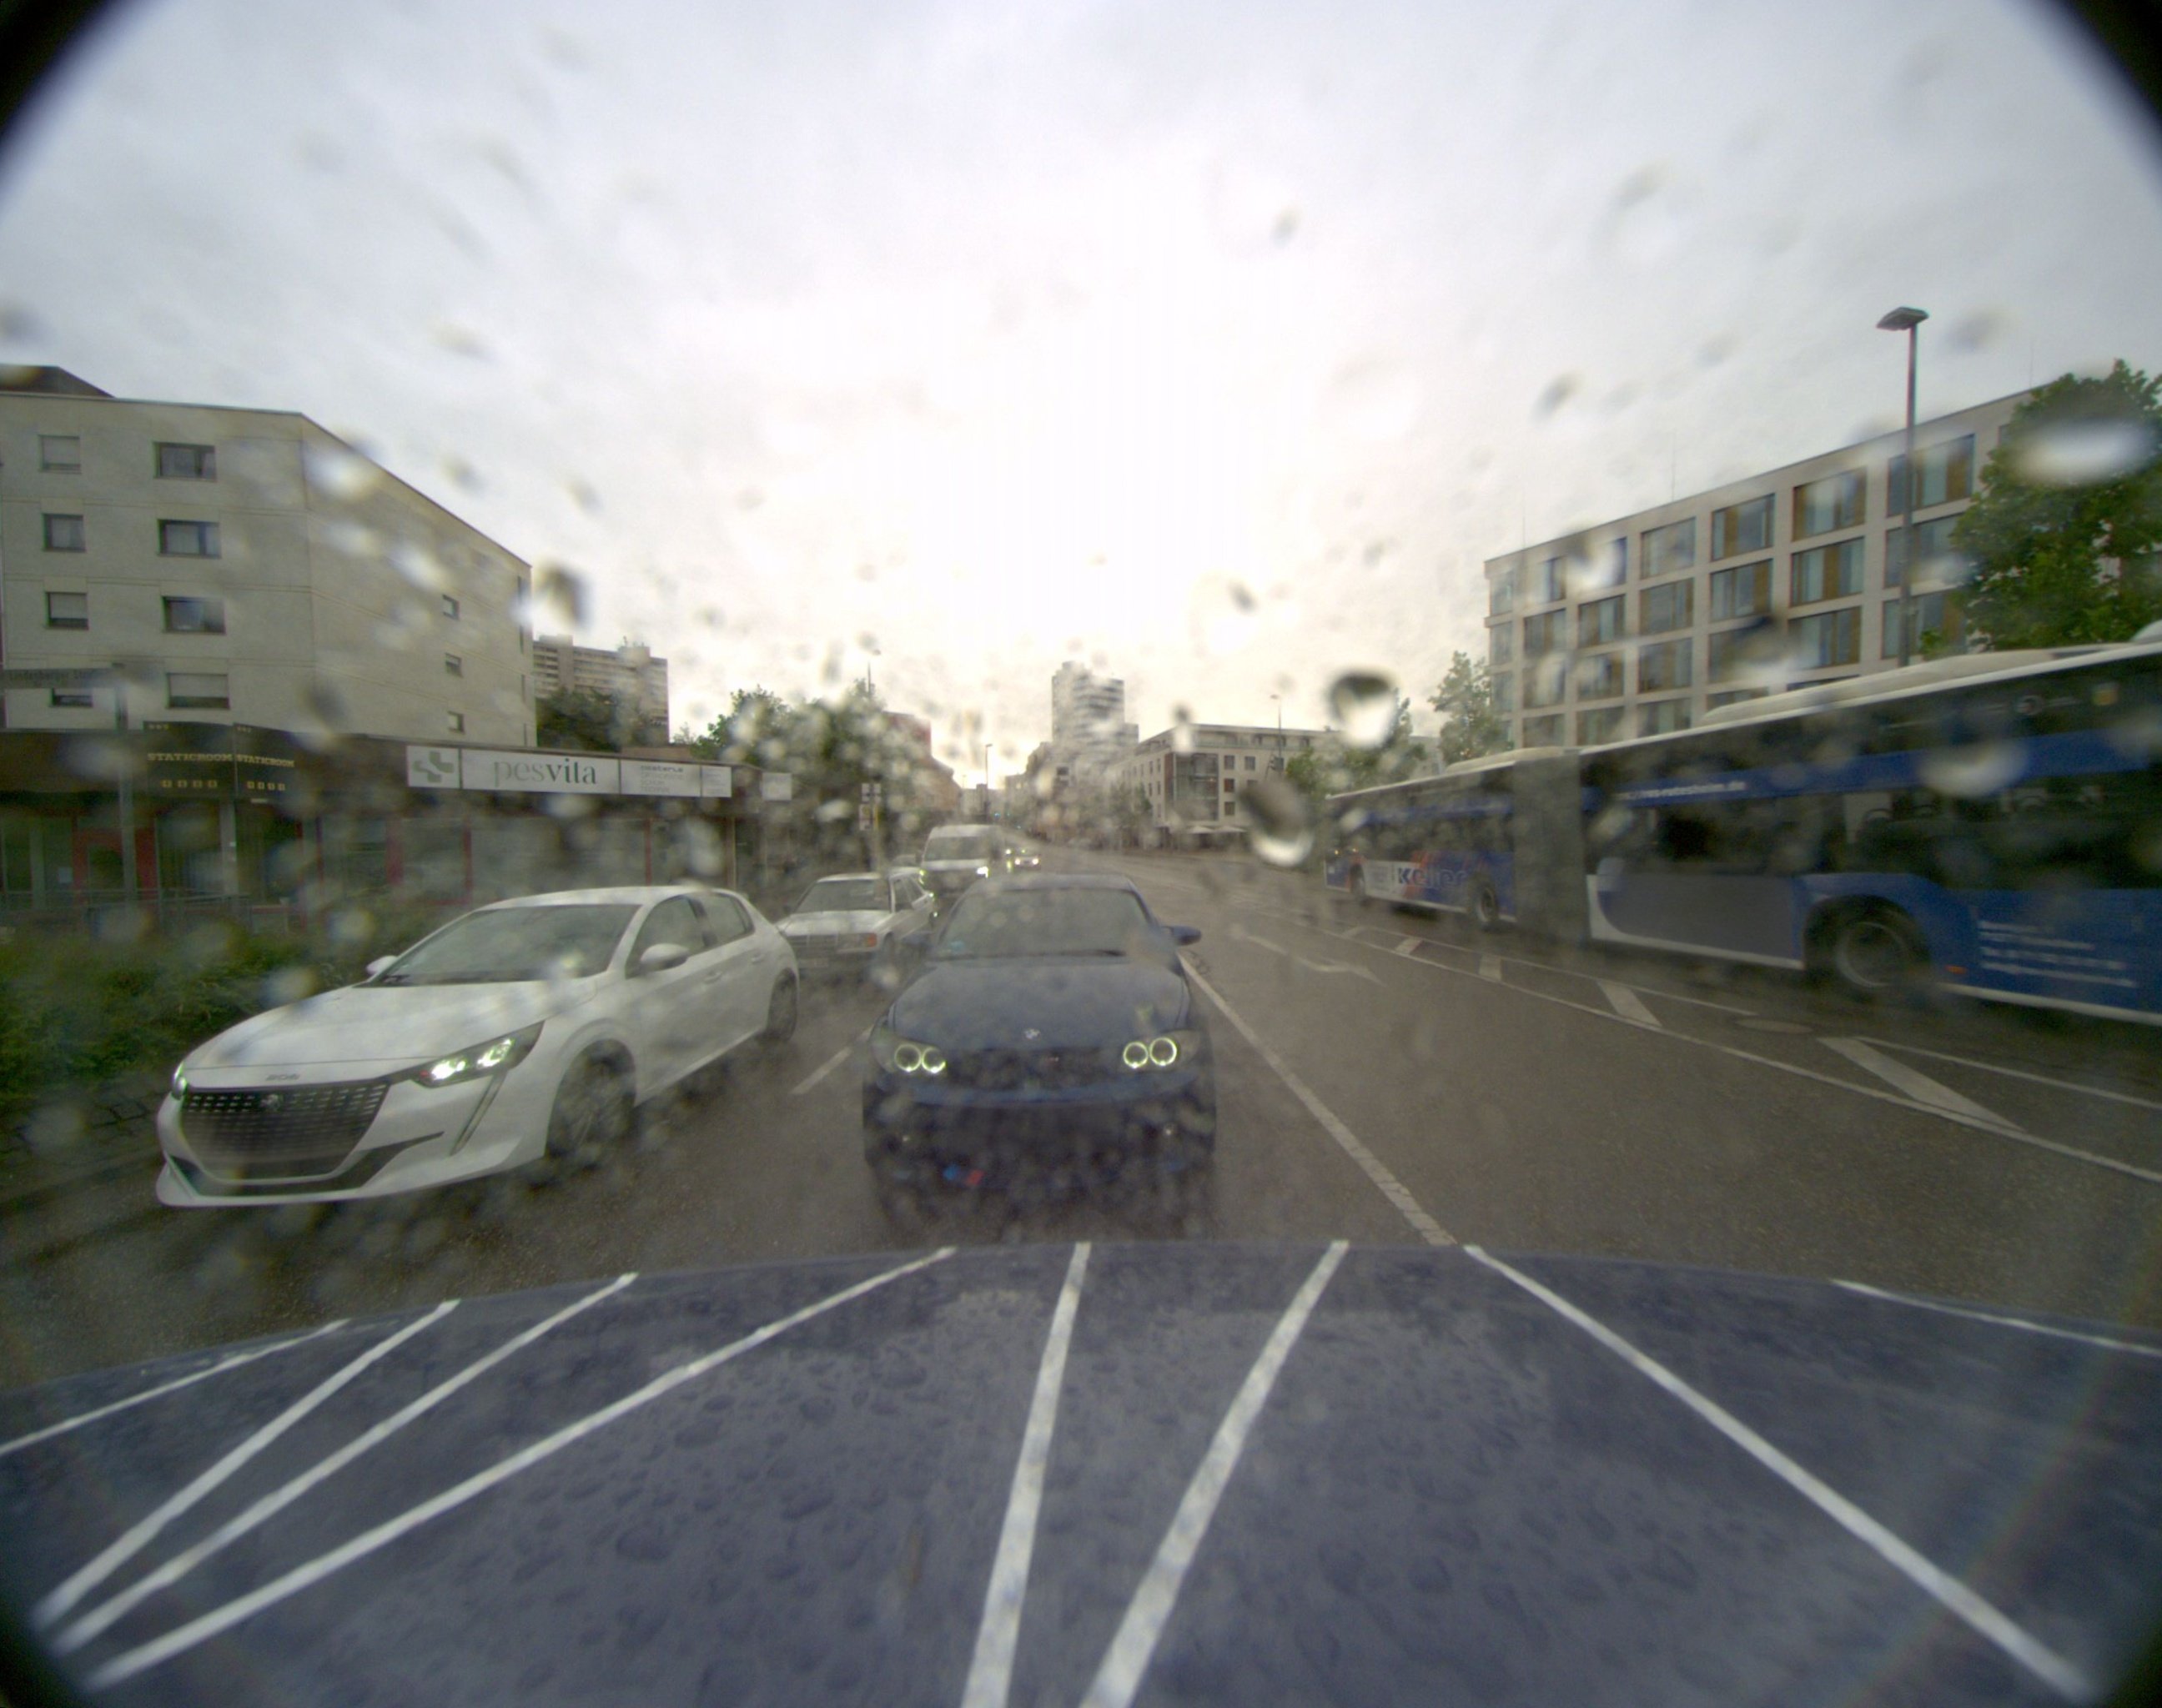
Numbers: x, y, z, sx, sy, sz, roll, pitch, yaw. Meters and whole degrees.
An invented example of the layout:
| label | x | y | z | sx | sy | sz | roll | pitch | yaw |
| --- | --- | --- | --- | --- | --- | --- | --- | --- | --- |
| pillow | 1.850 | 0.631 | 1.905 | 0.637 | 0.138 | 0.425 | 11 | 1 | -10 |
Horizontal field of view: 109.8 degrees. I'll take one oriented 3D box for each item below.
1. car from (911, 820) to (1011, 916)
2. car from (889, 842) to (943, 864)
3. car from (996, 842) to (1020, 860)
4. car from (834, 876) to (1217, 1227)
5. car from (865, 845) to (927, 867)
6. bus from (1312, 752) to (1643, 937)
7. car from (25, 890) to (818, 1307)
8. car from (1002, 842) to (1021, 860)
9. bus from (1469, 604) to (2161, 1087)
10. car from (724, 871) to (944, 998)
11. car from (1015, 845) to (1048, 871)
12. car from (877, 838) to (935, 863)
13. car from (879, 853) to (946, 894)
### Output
| label | x | y | z | sx | sy | sz | roll | pitch | yaw |
| --- | --- | --- | --- | --- | --- | --- | --- | --- | --- |
| car | -3.449 | 0.306 | 23.173 | 2.197 | 2.503 | 6.120 | -1 | 1 | -2 |
| car | -12.723 | -0.090 | 58.930 | 4.000 | 1.584 | 1.883 | -1 | -1 | -10 |
| car | -7.105 | -0.313 | 74.606 | 1.999 | 1.559 | 3.998 | -2 | 1 | -1 |
| car | -0.291 | 0.955 | 5.452 | 1.693 | 1.380 | 3.999 | -2 | 1 | -1 |
| car | -12.864 | 0.117 | 53.045 | 4.000 | 1.419 | 1.882 | -1 | 1 | -10 |
| bus | 8.051 | -0.214 | 17.279 | 2.799 | 3.096 | 8.882 | -1 | 1 | -1 |
| car | -3.358 | 1.087 | 5.112 | 1.666 | 1.407 | 4.114 | -2 | 1 | 1 |
| car | -8.311 | -0.408 | 90.756 | 2.000 | 2.002 | 3.996 | -1 | 1 | -8 |
| bus | 8.141 | -0.103 | 8.120 | 2.784 | 3.096 | 9.364 | -1 | 1 | -3 |
| car | -3.378 | 1.029 | 11.309 | 1.788 | 1.338 | 4.162 | -2 | 1 | 1 |
| car | -3.241 | 0.236 | 50.083 | 1.803 | 1.530 | 3.999 | -2 | 1 | 1 |
| car | -12.702 | -0.256 | 55.477 | 4.000 | 1.769 | 1.882 | -1 | 1 | -10 |
| car | -6.909 | 0.765 | 31.528 | 1.788 | 1.481 | 4.000 | -2 | 1 | 1 |
